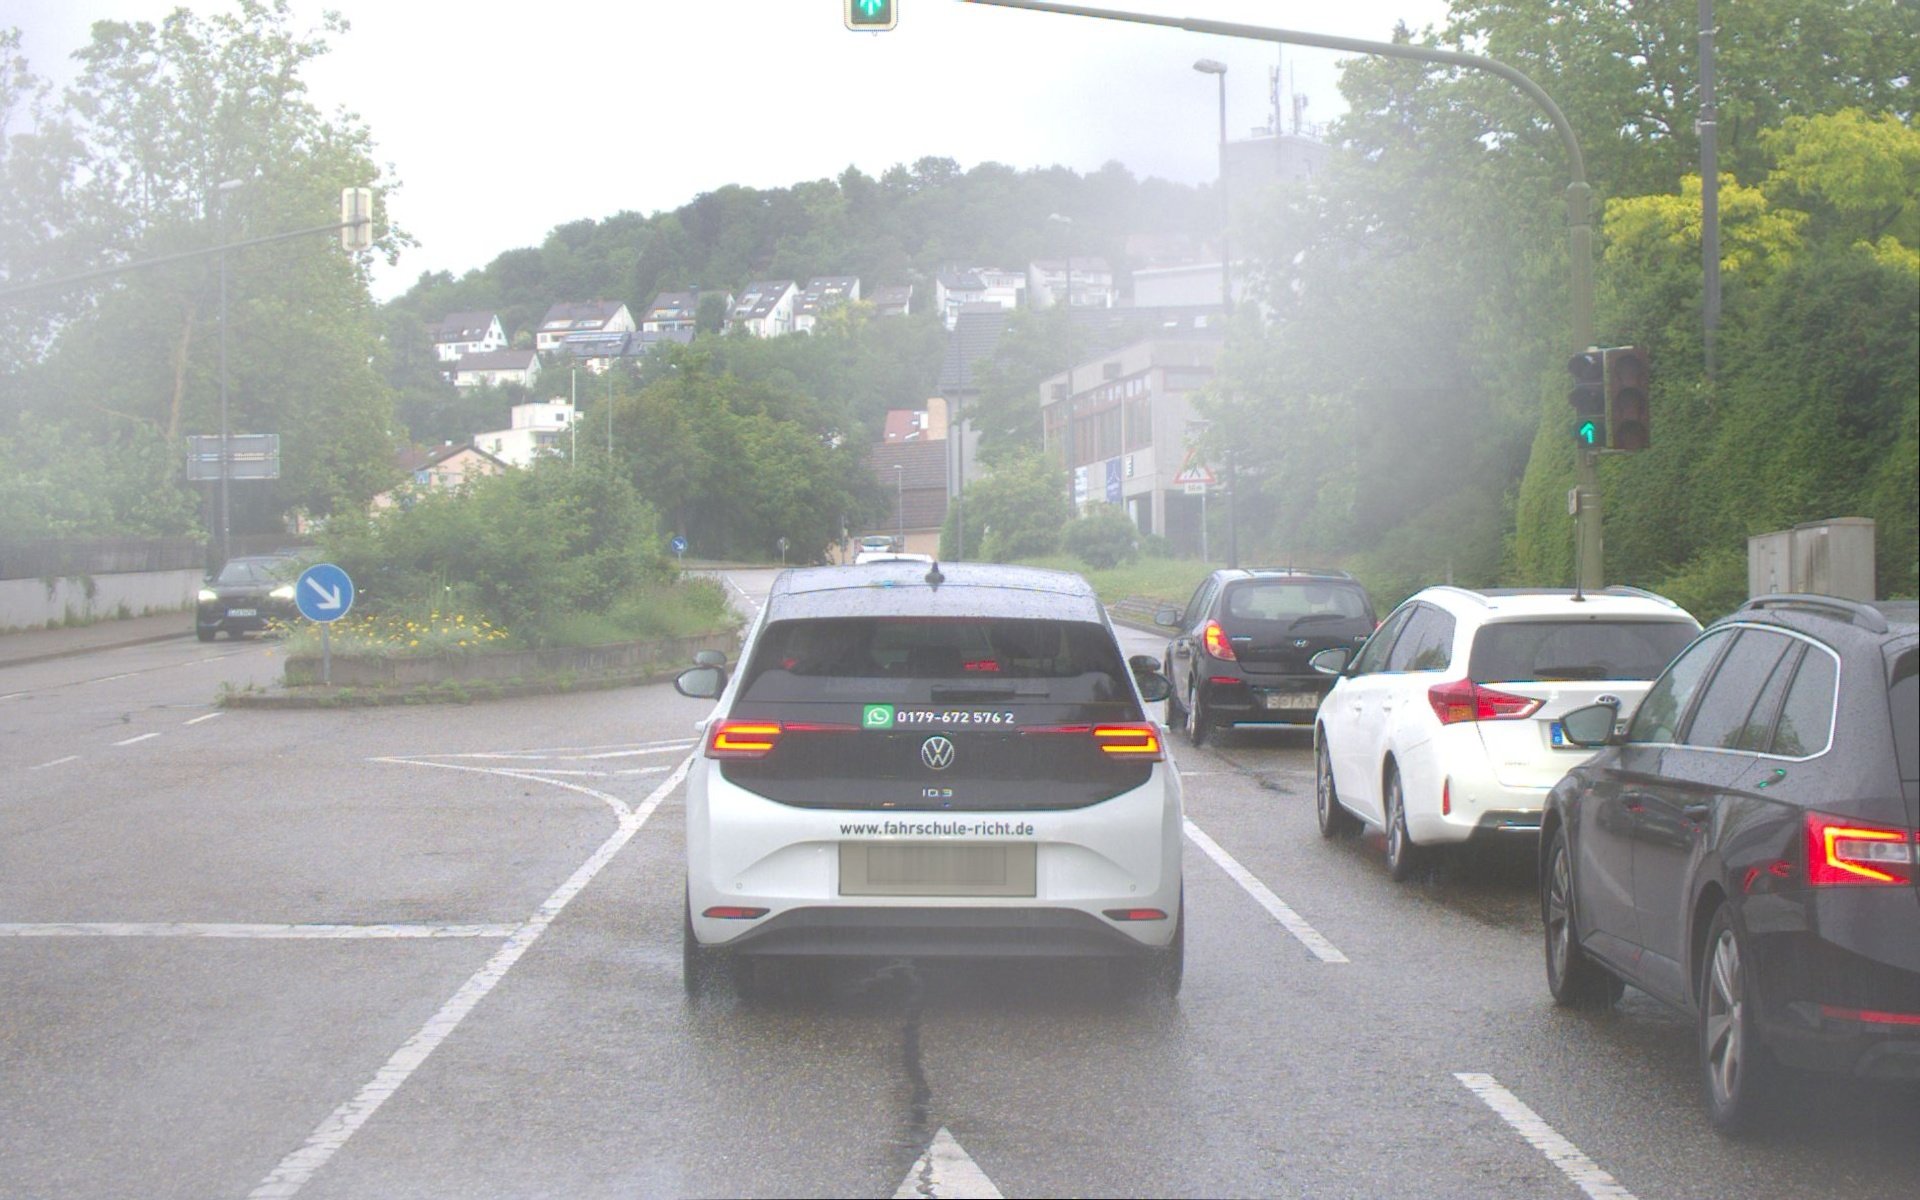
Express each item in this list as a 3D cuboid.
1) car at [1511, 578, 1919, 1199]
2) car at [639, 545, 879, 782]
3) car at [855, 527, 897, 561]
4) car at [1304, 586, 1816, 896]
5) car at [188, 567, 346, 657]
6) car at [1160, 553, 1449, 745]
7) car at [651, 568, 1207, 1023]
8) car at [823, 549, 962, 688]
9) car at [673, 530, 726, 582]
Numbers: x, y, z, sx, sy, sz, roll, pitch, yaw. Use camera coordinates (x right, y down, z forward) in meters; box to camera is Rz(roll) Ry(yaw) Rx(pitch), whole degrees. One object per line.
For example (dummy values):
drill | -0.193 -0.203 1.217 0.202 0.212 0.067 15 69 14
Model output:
car | 2.960 0.731 10.156 1.954 1.502 4.608 2 0 1
car | -1.430 0.383 24.578 1.567 1.525 4.001 0 1 -3
car | -3.777 -2.501 154.232 1.737 1.459 4.000 1 0 -3
car | 2.947 0.636 17.811 1.848 1.405 4.302 0 0 -1
car | -12.400 0.201 61.771 1.950 1.473 4.296 -3 0 -1
car | 2.872 0.386 29.428 1.993 1.448 3.771 -3 0 -1
car | -0.127 0.637 13.421 1.828 1.495 4.168 0 0 -1
car | -1.010 0.259 52.261 1.993 2.007 4.000 1 0 -1
car | -10.579 -1.776 139.623 1.993 2.007 4.000 1 0 -3
